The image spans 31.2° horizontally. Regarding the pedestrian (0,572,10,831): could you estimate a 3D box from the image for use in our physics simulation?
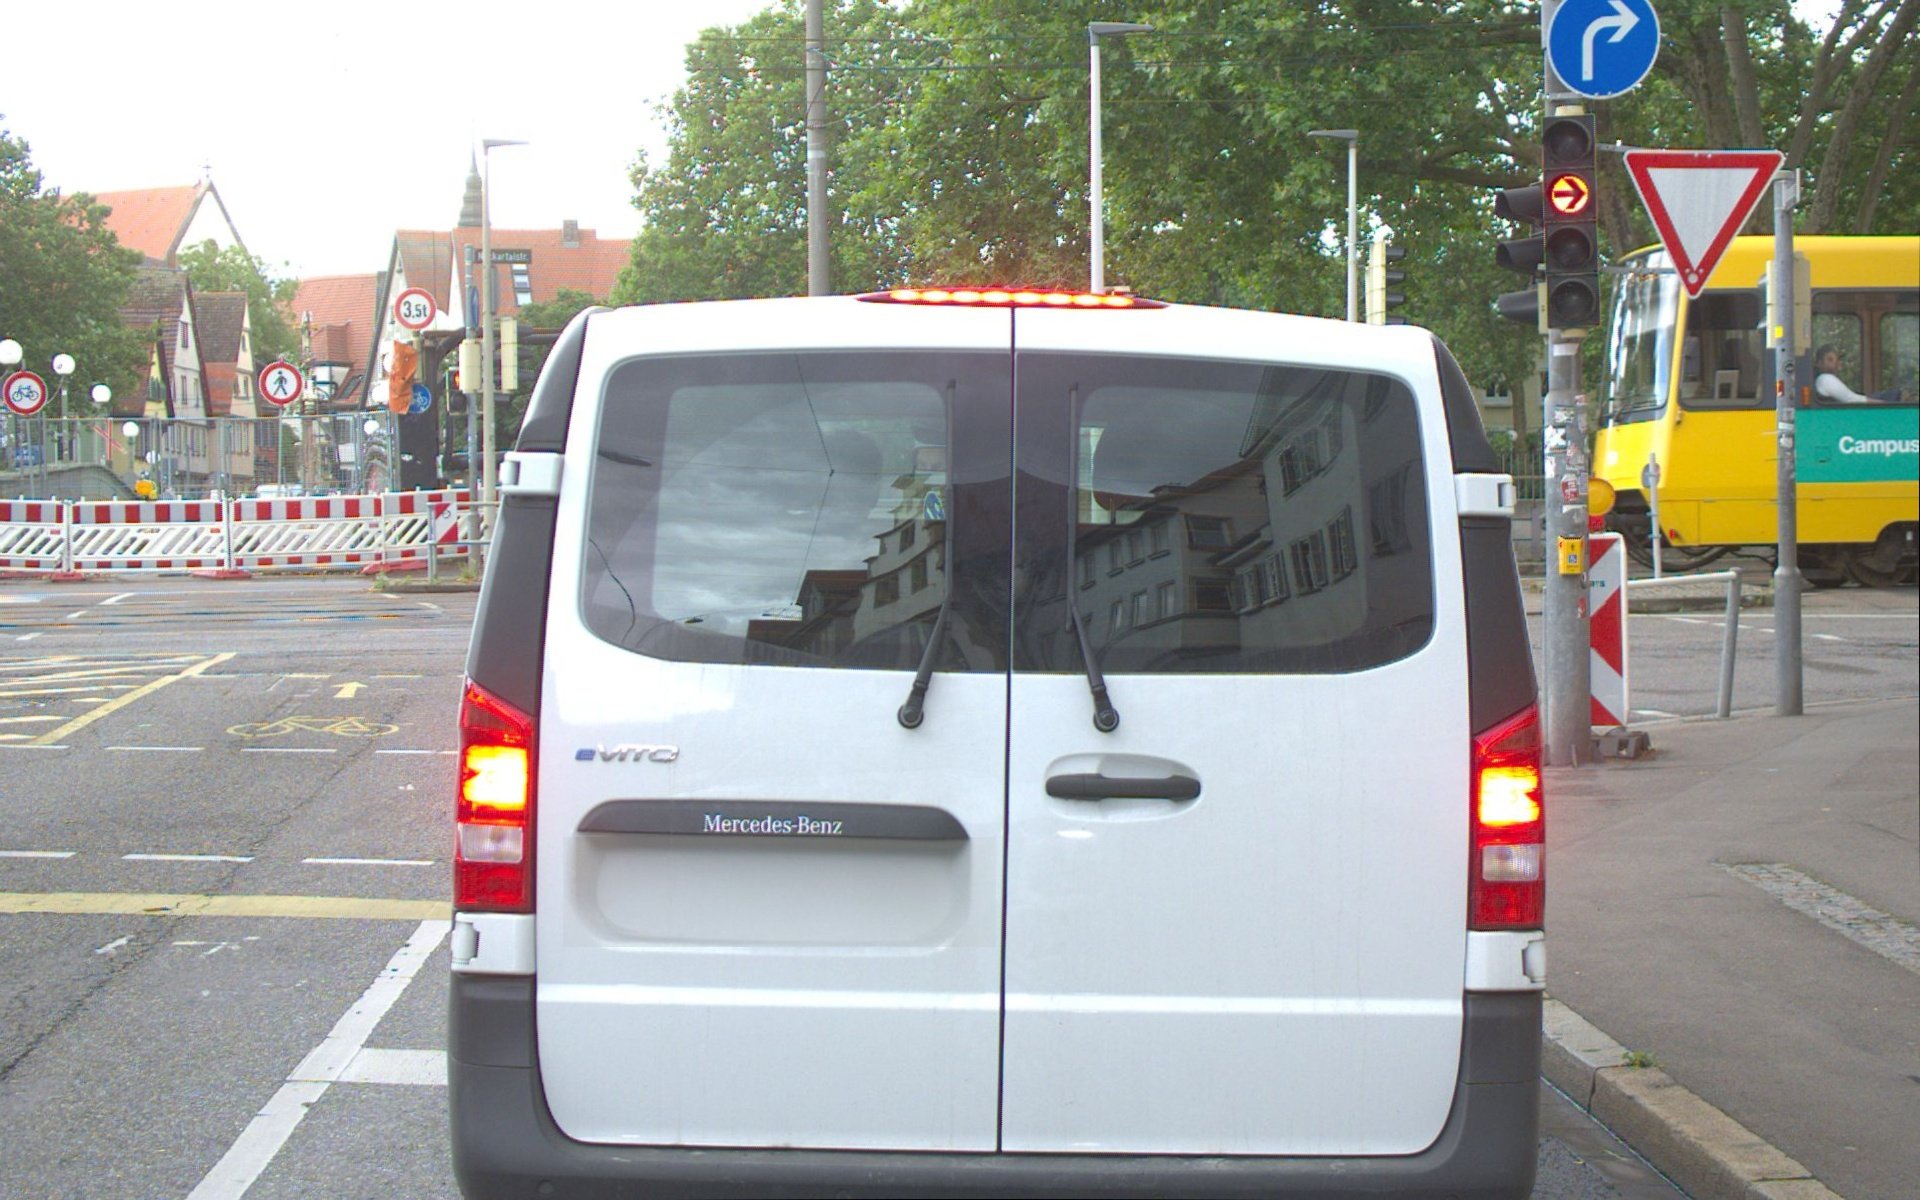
[{"bbox_3d":[-4.415,-0.001,13.578,1.149,1.850,0.679,-2,2,-21],"label":"pedestrian"}]

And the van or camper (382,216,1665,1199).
[{"bbox_3d":[-0.012,0.328,7.467,1.937,1.918,4.442,1,2,-3],"label":"van or camper"}]

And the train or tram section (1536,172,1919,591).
[{"bbox_3d":[15.786,-2.315,35.447,19.221,3.989,3.310,-1,4,-6],"label":"train or tram section"}]
